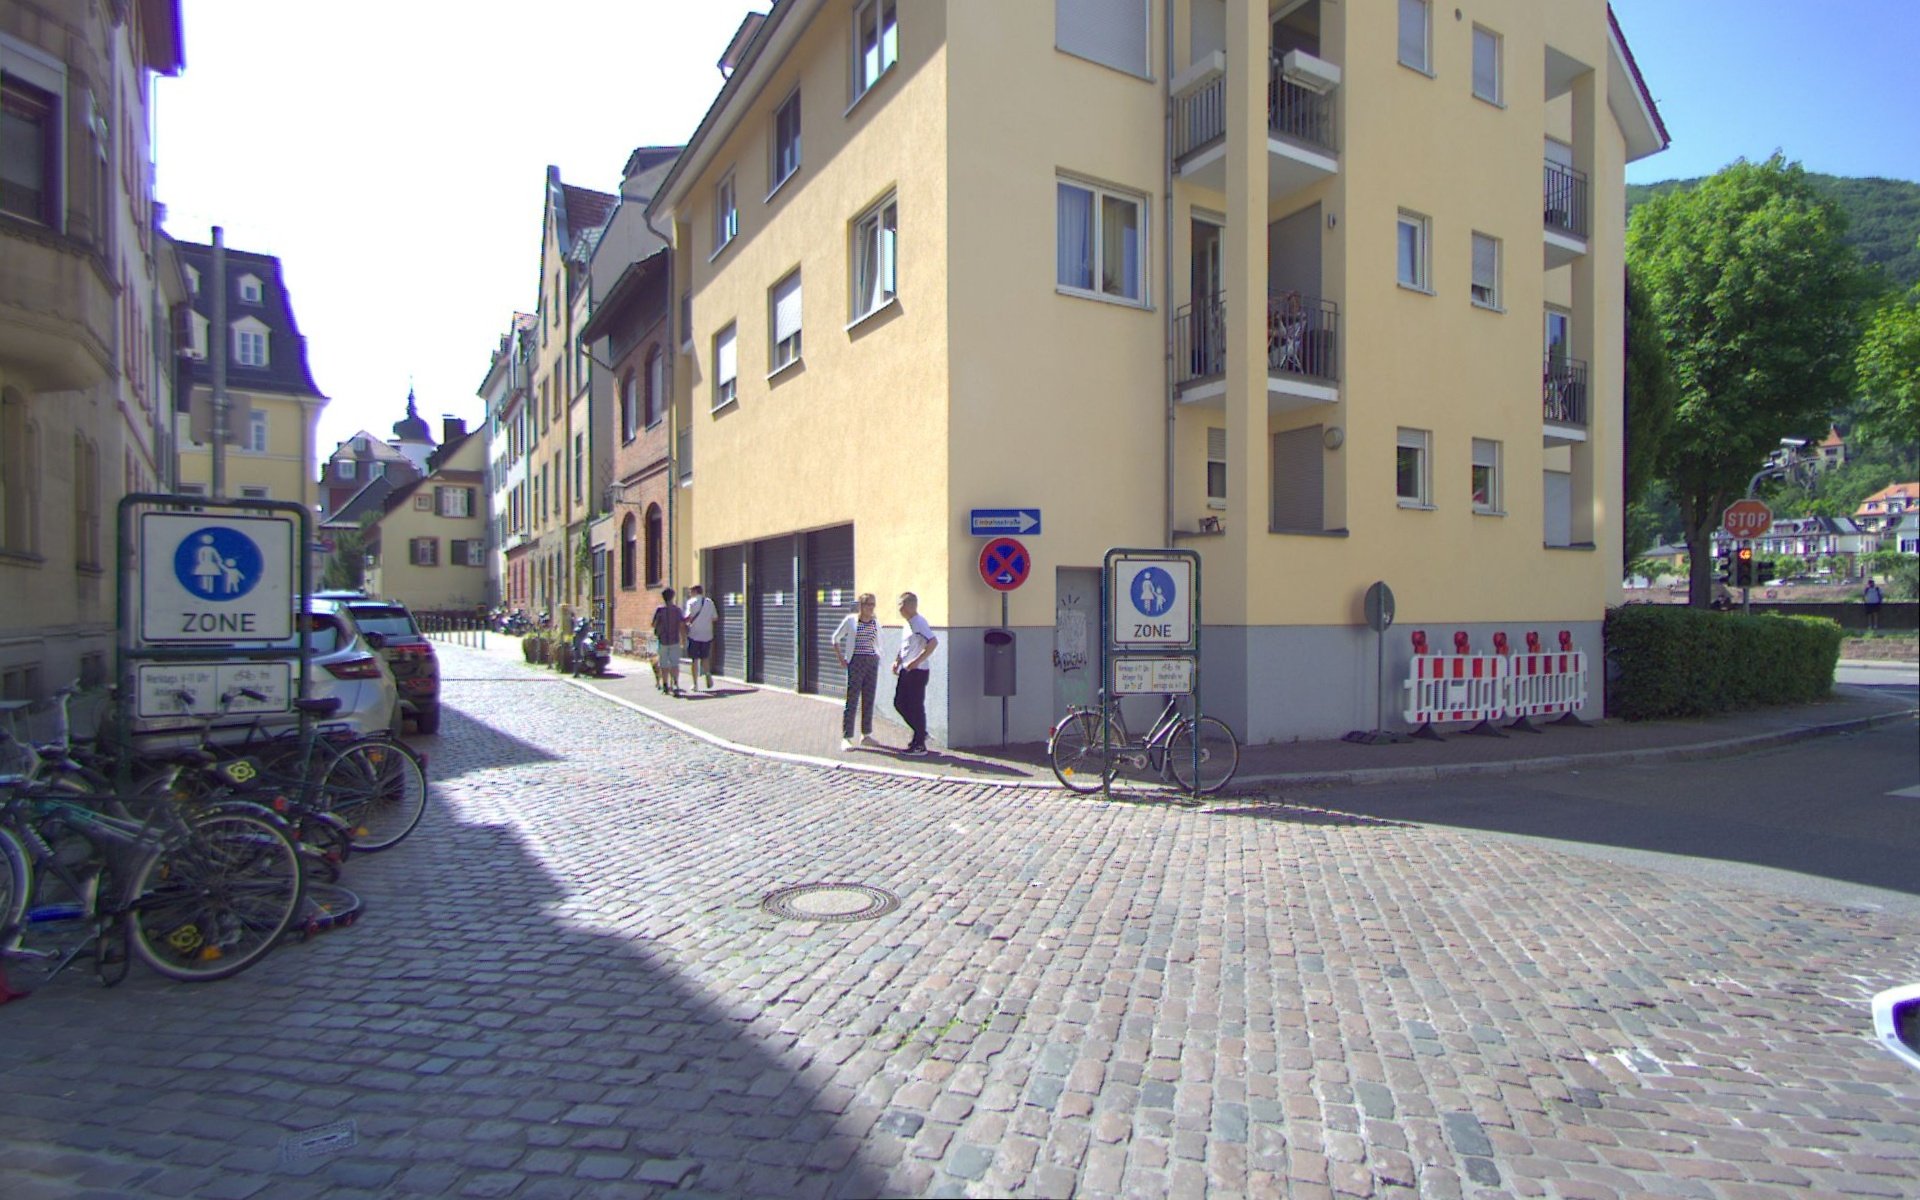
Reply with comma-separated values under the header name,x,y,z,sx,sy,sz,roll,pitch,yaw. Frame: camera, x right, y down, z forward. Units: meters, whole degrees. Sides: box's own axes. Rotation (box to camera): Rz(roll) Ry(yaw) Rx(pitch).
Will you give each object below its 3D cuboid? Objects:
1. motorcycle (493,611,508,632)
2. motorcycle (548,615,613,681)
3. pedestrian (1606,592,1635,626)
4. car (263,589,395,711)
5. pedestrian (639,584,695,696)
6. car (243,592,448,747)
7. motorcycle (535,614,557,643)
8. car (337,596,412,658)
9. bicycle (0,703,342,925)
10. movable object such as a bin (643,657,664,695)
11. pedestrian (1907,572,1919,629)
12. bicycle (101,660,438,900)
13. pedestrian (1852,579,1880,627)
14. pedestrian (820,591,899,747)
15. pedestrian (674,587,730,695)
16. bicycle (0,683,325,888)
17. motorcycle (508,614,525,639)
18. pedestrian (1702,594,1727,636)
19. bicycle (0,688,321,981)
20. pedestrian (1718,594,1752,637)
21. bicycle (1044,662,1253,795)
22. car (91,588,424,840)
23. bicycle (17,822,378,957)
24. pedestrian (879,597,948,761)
name,x,y,z,sx,sy,sz,roll,pitch,yaw
motorcycle,-21.539,0.997,47.091,0.382,0.958,1.557,3,-2,-33
motorcycle,-8.031,0.978,21.170,0.591,1.265,2.457,3,-2,-36
pedestrian,25.737,0.346,39.148,1.209,1.287,0.465,0,0,-30
car,-9.865,0.690,15.871,1.550,1.657,3.829,2,0,-30
pedestrian,-4.832,0.652,16.545,0.612,1.768,0.855,3,0,-30
car,-7.506,0.714,12.405,1.831,1.565,3.966,2,0,-31
motorcycle,-14.680,1.009,35.618,0.383,0.958,1.339,3,-2,-36
car,-15.160,0.660,25.942,1.551,1.463,3.612,2,0,-32
bicycle,-3.924,1.000,4.683,1.631,1.086,0.286,1,42,-43
movable object such as a bin,-5.322,1.309,17.464,0.295,0.571,1.239,0,0,-15
pedestrian,32.278,0.032,33.638,0.753,1.882,0.753,1,0,39
bicycle,-3.985,0.977,5.951,0.281,1.100,1.639,-2,1,30
pedestrian,33.210,0.114,36.836,0.751,1.755,0.701,1,0,-44
pedestrian,-1.110,0.725,11.018,0.680,1.639,0.753,0,0,-21
pedestrian,-4.378,0.683,17.010,0.612,1.768,0.855,3,0,-30
bicycle,-4.243,0.933,5.057,1.631,1.086,0.286,1,42,-43
motorcycle,-17.560,1.047,39.755,0.382,0.958,1.341,3,-1,-33
pedestrian,27.254,0.533,36.290,0.795,1.513,0.465,0,0,-30
bicycle,-3.603,0.943,4.129,1.616,1.100,0.284,0,3,-18
pedestrian,27.738,0.552,35.948,1.368,1.499,0.465,0,0,-30
bicycle,1.706,1.129,9.052,1.878,1.093,0.390,0,0,-15
car,-5.668,0.732,8.403,1.832,1.564,3.894,0,-1,-32
bicycle,-3.630,1.378,4.945,1.106,0.291,1.074,0,-1,-18
pedestrian,-0.482,0.800,10.520,0.483,1.639,0.657,1,0,21
